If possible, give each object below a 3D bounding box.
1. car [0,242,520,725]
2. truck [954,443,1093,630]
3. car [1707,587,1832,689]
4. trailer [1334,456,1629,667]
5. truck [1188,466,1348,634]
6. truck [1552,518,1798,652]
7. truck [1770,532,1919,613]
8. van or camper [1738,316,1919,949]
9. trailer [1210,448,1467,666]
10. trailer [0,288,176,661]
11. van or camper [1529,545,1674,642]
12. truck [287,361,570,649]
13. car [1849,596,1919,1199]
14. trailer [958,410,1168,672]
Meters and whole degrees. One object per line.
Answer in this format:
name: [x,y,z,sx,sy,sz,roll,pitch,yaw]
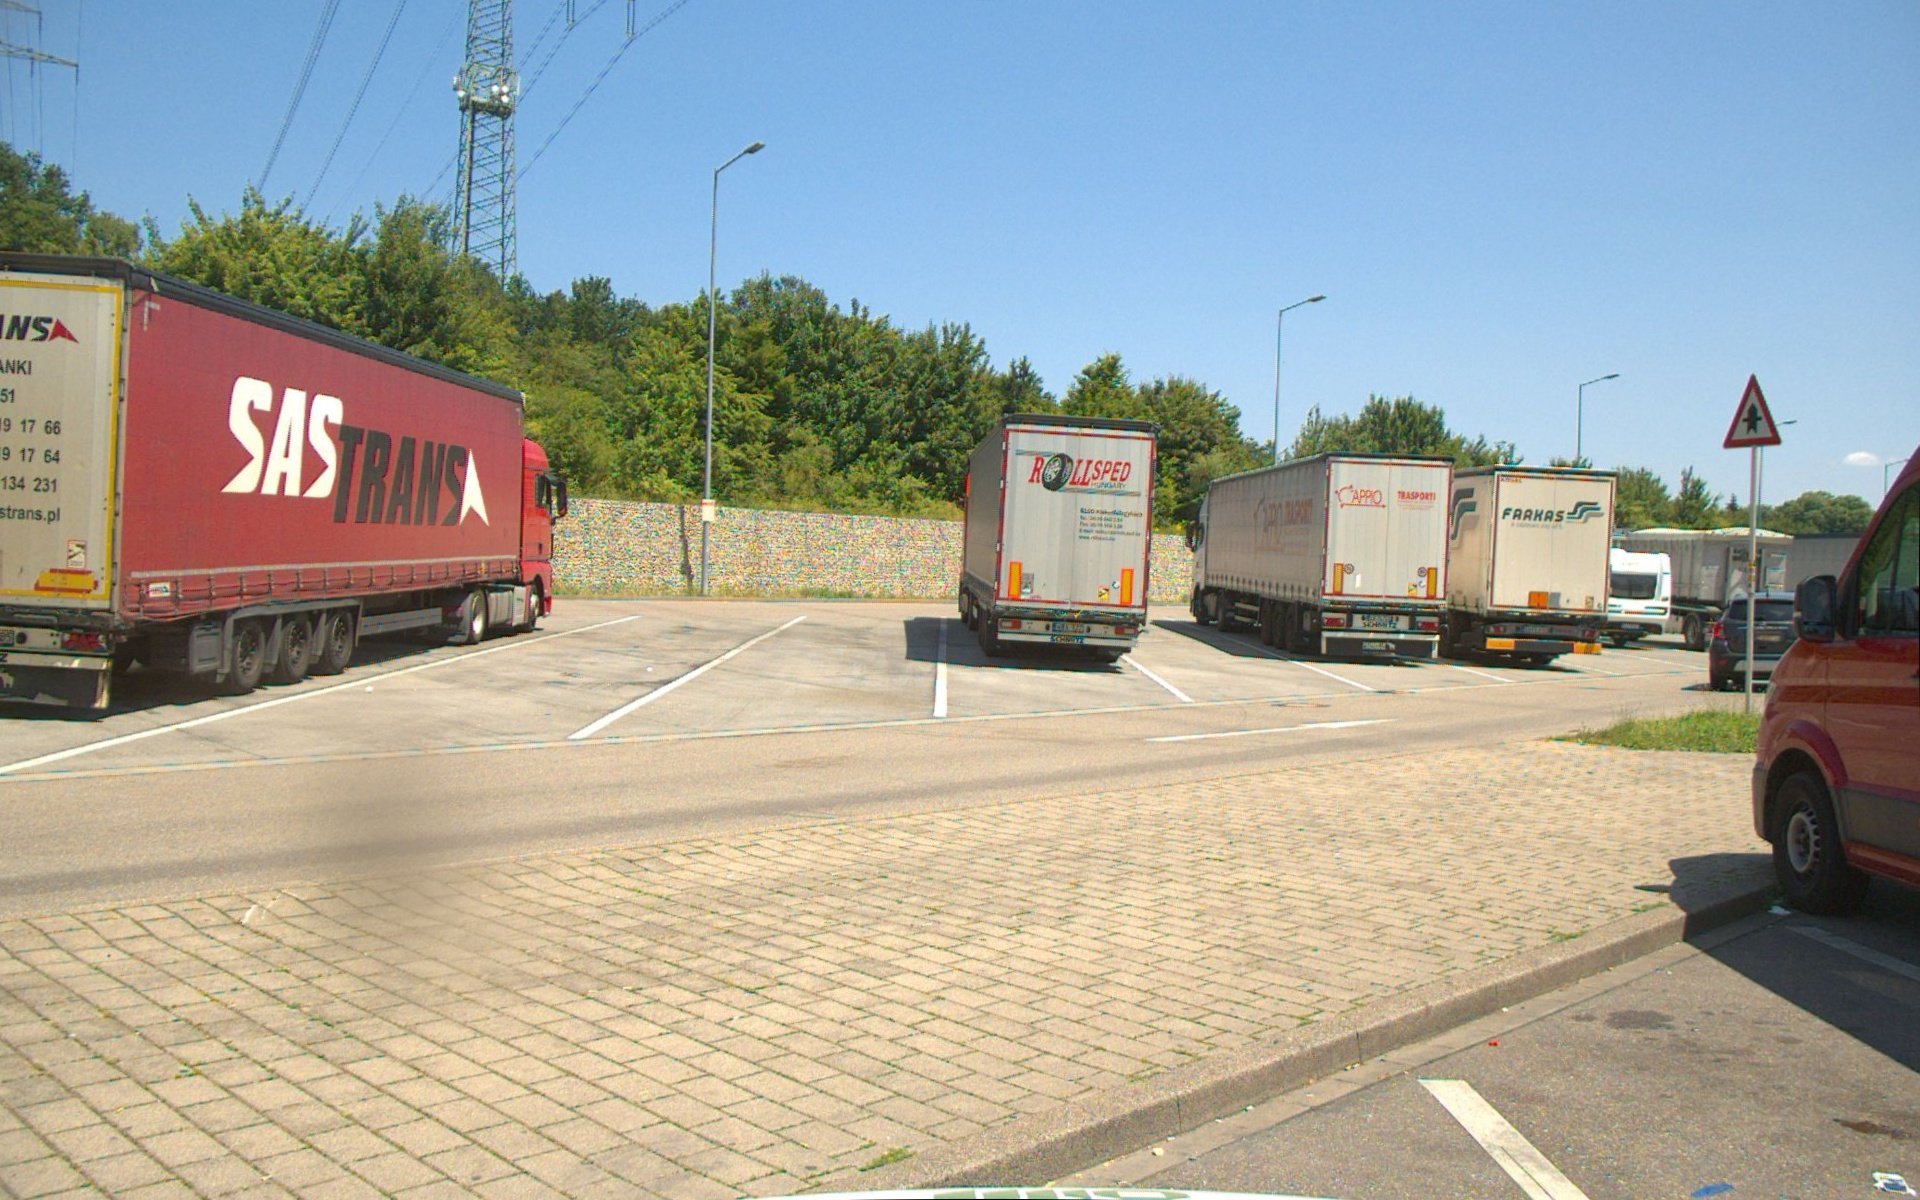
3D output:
car: [-8.674,-1.281,20.969,2.641,4.184,12.935,2,2,0]
truck: [1.421,-1.570,40.762,2.809,4.107,7.026,2,2,-2]
car: [14.063,0.590,28.778,1.806,1.589,3.946,1,1,26]
trailer: [11.821,-1.028,39.236,2.808,4.107,12.438,2,2,-1]
truck: [8.163,-1.389,44.748,2.808,4.107,6.956,2,2,-1]
truck: [21.744,-0.655,51.259,2.437,3.630,11.423,2,2,-1]
truck: [34.695,-1.075,63.655,2.082,2.869,9.777,1,1,-1]
van or camper: [4.995,0.174,5.572,1.954,2.700,6.482,1,1,3]
trailer: [8.244,-1.093,38.118,2.808,4.107,12.438,2,2,-1]
trailer: [-12.544,-1.406,17.170,2.756,4.341,12.940,2,2,-1]
van or camper: [18.264,-0.227,47.362,2.061,2.606,5.372,1,1,0]
truck: [-8.697,-1.531,27.887,2.641,4.184,6.239,2,2,0]
car: [2.546,0.796,1.124,1.584,1.509,3.762,1,1,-6]
trailer: [1.653,-1.242,33.681,2.809,4.107,14.238,2,2,-2]
